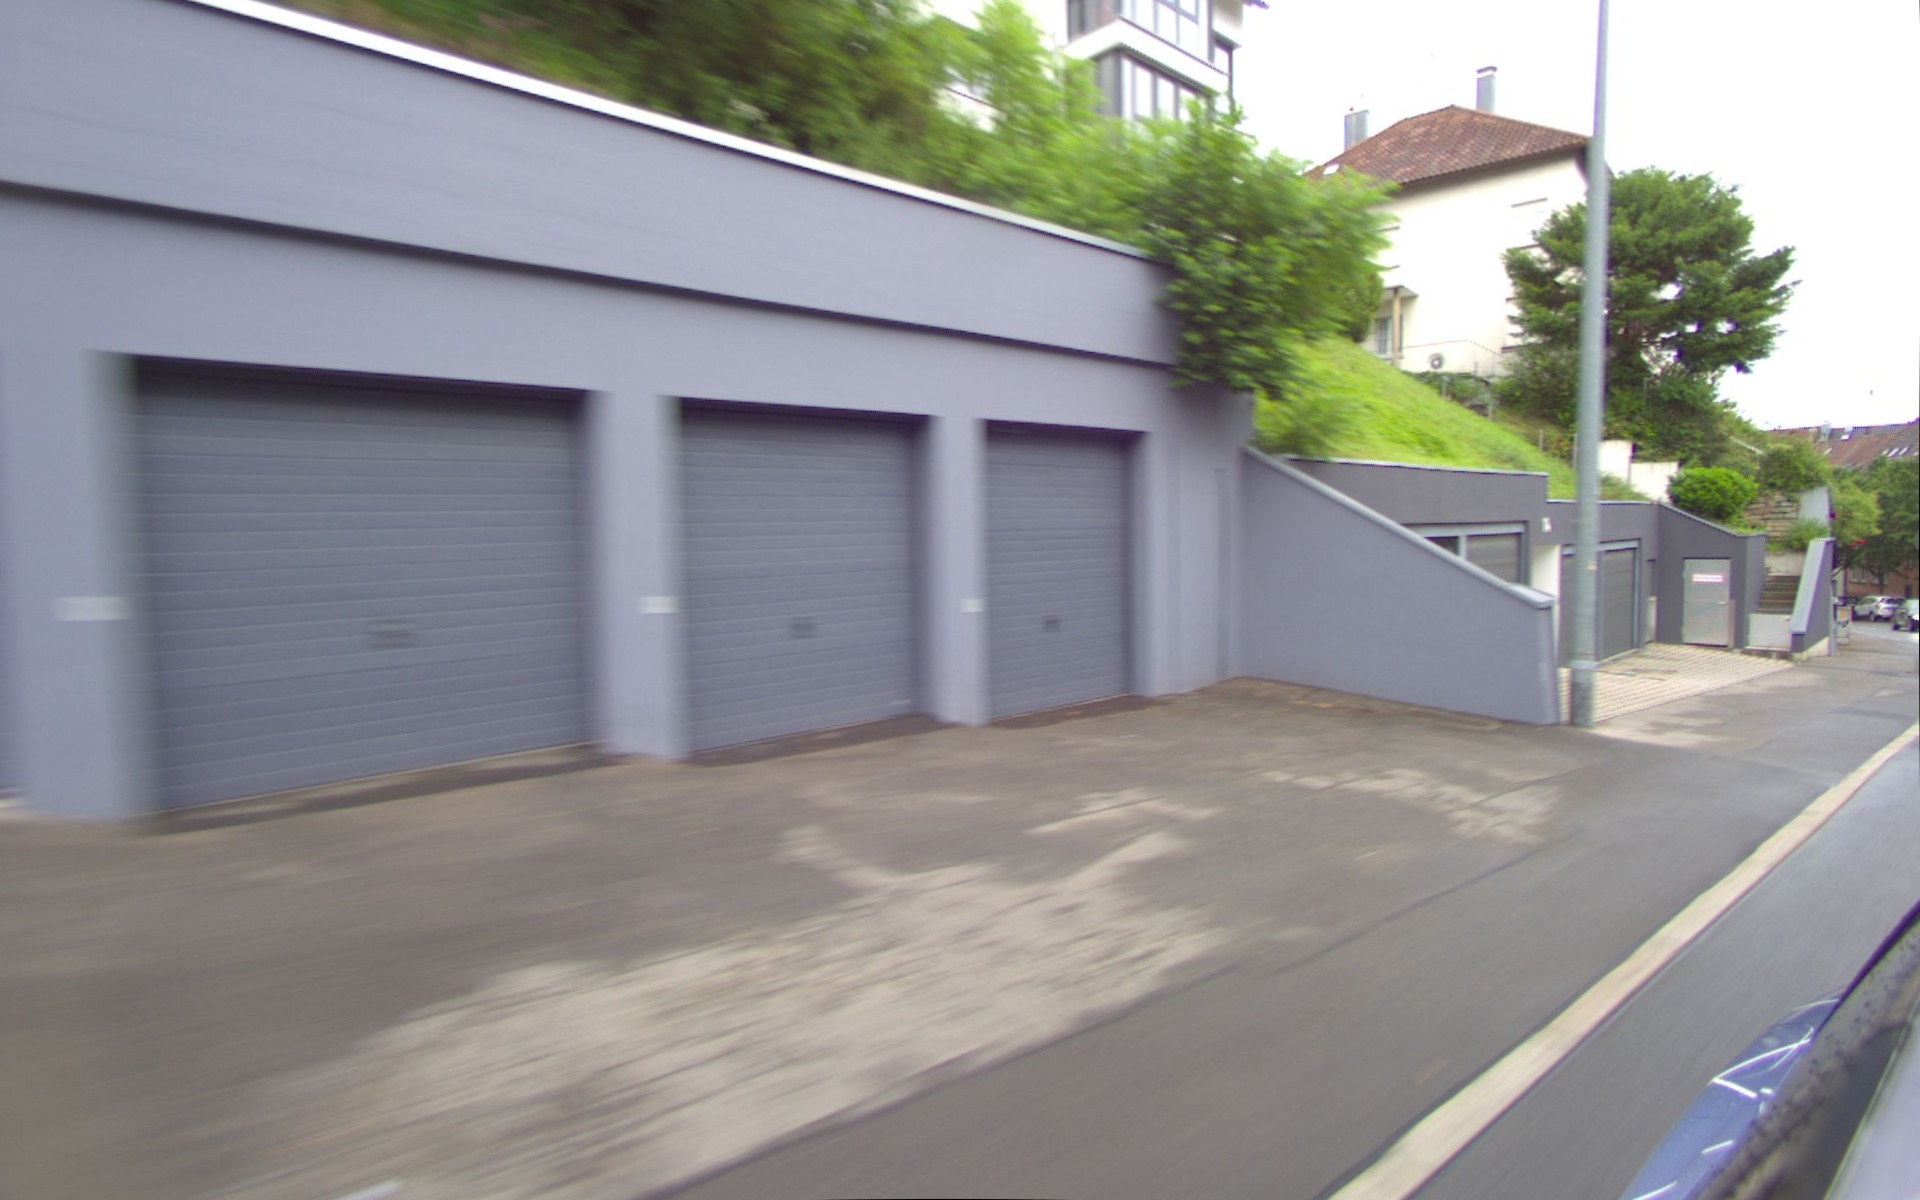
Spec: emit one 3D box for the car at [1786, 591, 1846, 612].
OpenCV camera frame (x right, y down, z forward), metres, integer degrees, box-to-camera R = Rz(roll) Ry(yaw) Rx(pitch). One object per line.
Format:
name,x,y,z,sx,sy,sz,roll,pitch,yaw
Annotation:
car,63.402,0.094,75.044,1.768,1.512,4.339,0,0,16

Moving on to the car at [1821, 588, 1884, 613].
car,61.410,0.047,69.717,1.772,1.662,4.448,0,0,22

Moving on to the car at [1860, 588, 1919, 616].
car,59.363,0.118,64.529,1.734,1.711,4.560,0,0,25
